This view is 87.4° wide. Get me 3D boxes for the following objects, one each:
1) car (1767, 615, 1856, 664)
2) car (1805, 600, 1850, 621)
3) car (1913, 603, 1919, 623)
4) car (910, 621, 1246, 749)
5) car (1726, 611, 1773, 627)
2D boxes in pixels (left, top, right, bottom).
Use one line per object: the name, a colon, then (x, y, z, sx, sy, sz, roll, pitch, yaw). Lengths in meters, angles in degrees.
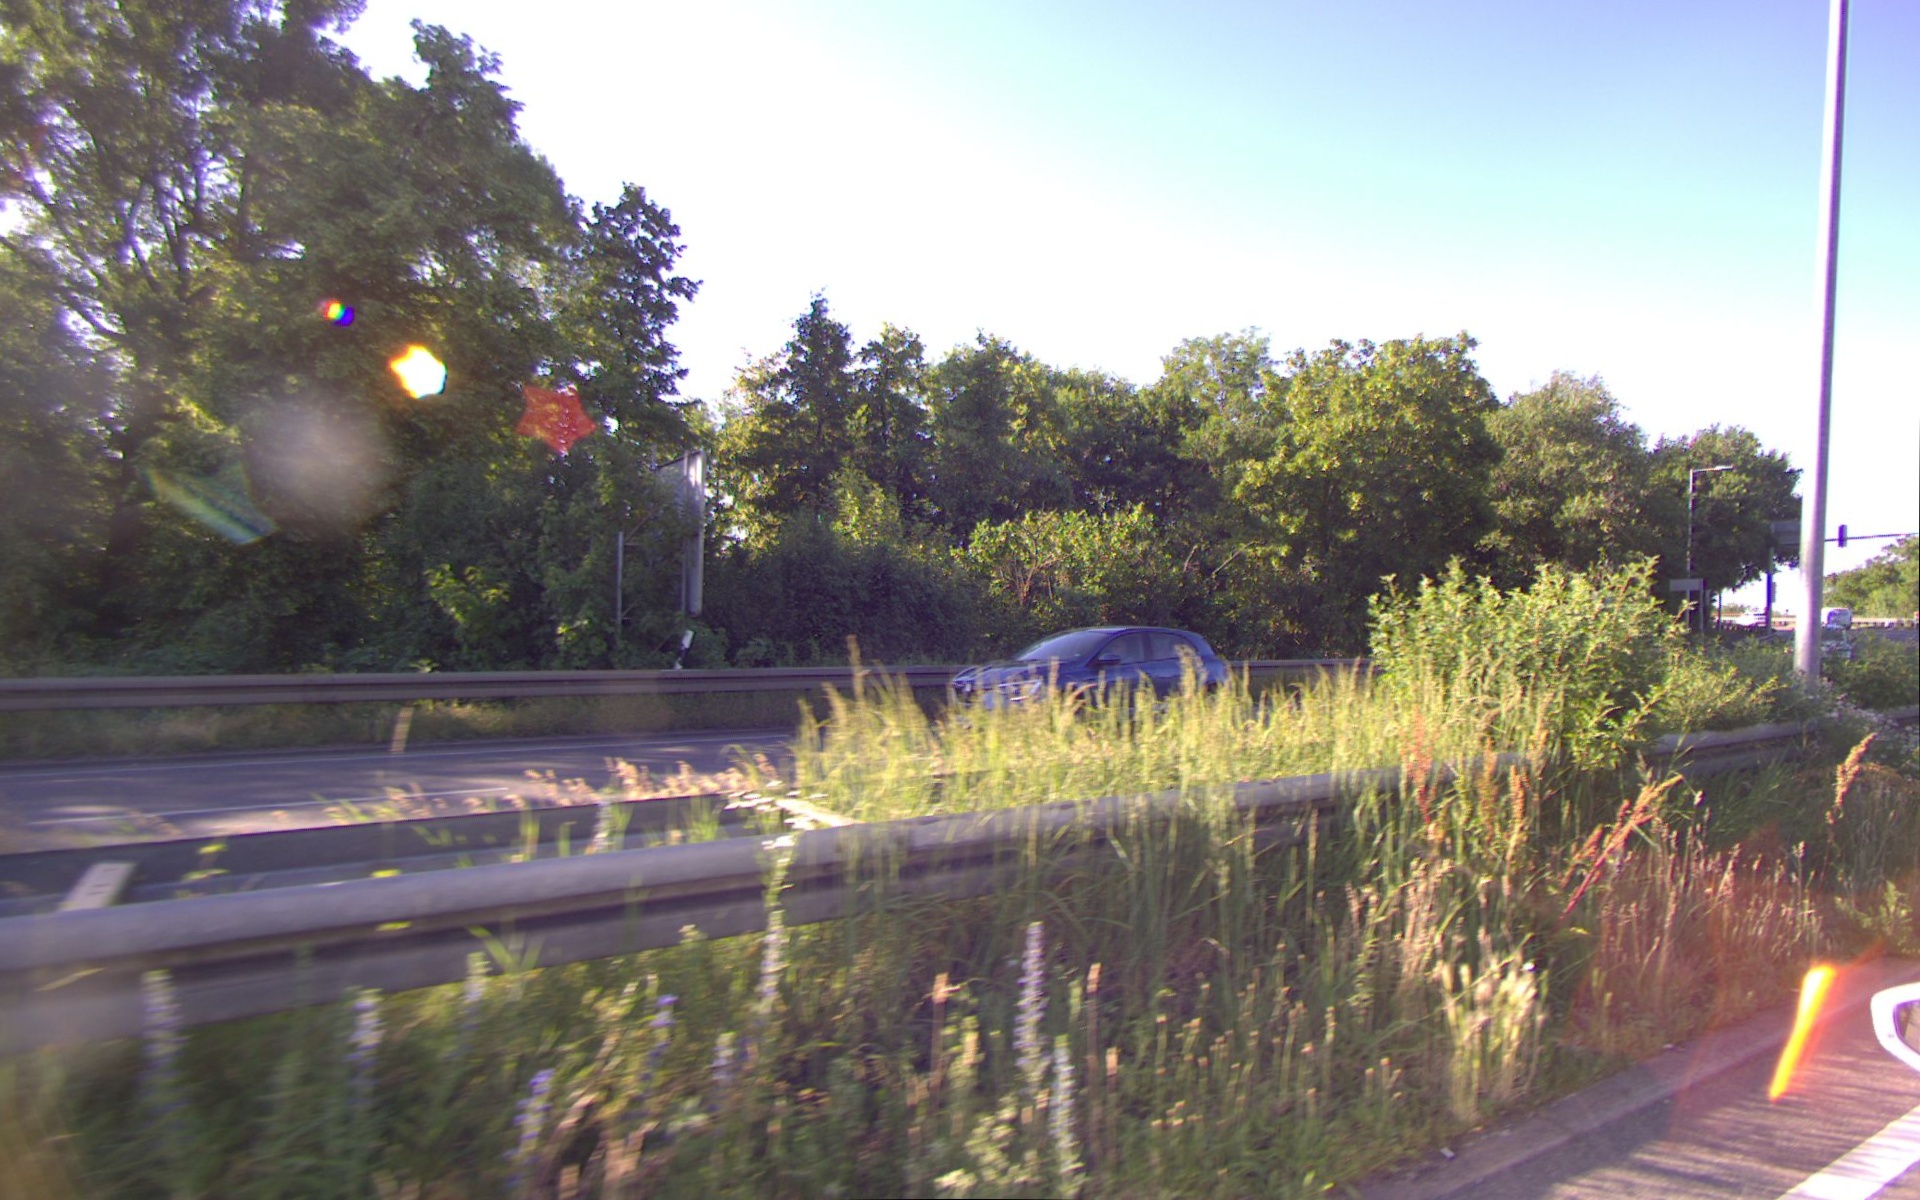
car: (28.931, 1.289, 34.090, 4.187, 1.540, 1.867, 1, -1, -43)
car: (73.708, 0.888, 85.420, 1.939, 1.721, 3.995, 0, 0, 26)
car: (71.287, 0.953, 72.511, 1.936, 1.494, 4.156, 0, 0, 16)
car: (1.652, 1.026, 13.329, 4.322, 1.439, 1.873, 1, -3, -36)
car: (80.632, 1.928, 102.660, 2.227, 1.528, 4.002, 1, -1, 13)
